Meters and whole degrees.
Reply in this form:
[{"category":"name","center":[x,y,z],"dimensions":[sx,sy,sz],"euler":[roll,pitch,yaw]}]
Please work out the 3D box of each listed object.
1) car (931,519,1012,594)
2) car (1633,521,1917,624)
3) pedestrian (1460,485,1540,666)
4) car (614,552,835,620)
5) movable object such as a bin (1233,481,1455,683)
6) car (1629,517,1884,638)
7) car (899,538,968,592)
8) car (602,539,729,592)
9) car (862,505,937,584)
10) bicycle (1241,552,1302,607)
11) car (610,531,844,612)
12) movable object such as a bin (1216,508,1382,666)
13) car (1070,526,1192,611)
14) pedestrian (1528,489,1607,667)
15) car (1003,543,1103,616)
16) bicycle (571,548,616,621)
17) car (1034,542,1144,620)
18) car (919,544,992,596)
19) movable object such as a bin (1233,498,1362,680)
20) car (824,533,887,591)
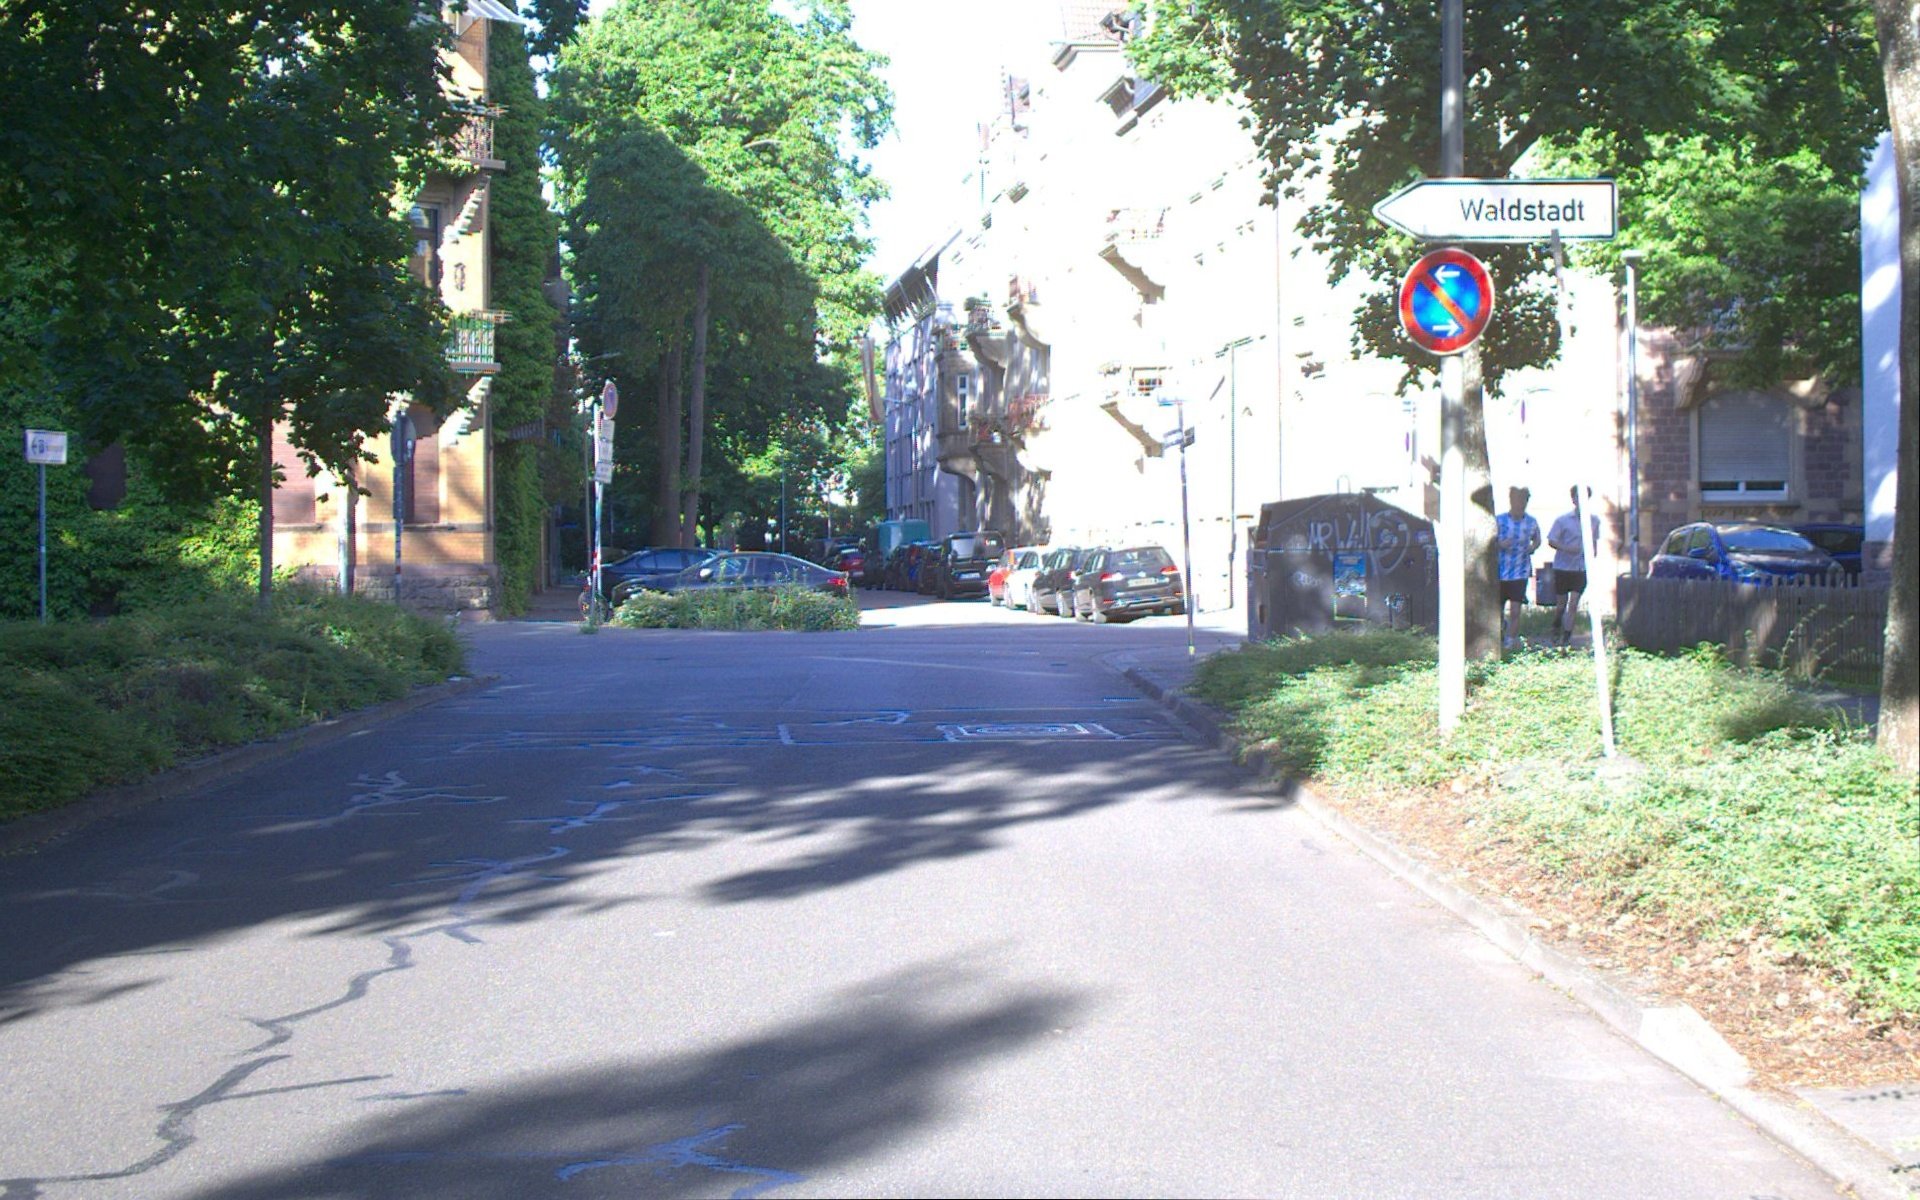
[{"category":"car","center":[0.303,-1.189,94.952],"dimensions":[1.802,1.997,4.001],"euler":[1,1,-6]},{"category":"car","center":[13.637,-0.469,57.607],"dimensions":[4.243,1.616,1.736],"euler":[1,2,-10]},{"category":"pedestrian","center":[5.720,-0.262,36.444],"dimensions":[0.673,1.887,0.895],"euler":[1,0,0]},{"category":"car","center":[-5.290,-0.322,76.907],"dimensions":[4.833,1.430,1.710],"euler":[1,0,-7]},{"category":"movable object such as a bin","center":[3.631,-0.174,32.721],"dimensions":[1.920,1.847,1.393],"euler":[1,0,-1]},{"category":"car","center":[10.815,-0.271,46.991],"dimensions":[1.993,1.550,4.001],"euler":[1,-1,-10]},{"category":"car","center":[-0.859,-1.125,110.103],"dimensions":[1.802,1.673,4.001],"euler":[1,1,-6]},{"category":"car","center":[-9.094,-1.073,106.094],"dimensions":[3.800,1.570,1.710],"euler":[1,0,-8]},{"category":"car","center":[-2.141,-1.944,120.351],"dimensions":[2.165,2.681,4.792],"euler":[1,1,-6]},{"category":"bicycle","center":[5.697,-0.382,62.960],"dimensions":[0.514,0.994,1.576],"euler":[1,1,-18]},{"category":"car","center":[-4.384,-0.536,64.434],"dimensions":[4.242,1.430,2.000],"euler":[1,1,-7]},{"category":"movable object such as a bin","center":[3.640,-0.146,37.089],"dimensions":[1.586,1.652,1.640],"euler":[1,0,-1]},{"category":"car","center":[3.269,-0.617,66.462],"dimensions":[1.737,1.576,4.001],"euler":[1,1,-6]},{"category":"pedestrian","center":[6.550,-0.242,37.102],"dimensions":[0.642,1.887,1.018],"euler":[1,0,0]},{"category":"car","center":[2.085,-0.478,78.034],"dimensions":[1.737,1.576,4.001],"euler":[1,1,-6]},{"category":"bicycle","center":[-6.419,-0.279,60.240],"dimensions":[0.563,1.264,1.603],"euler":[-1,1,1]},{"category":"car","center":[2.693,-0.415,72.556],"dimensions":[1.737,1.576,4.001],"euler":[1,1,-6]},{"category":"car","center":[-0.153,-0.893,103.397],"dimensions":[1.802,1.509,4.001],"euler":[1,1,-6]},{"category":"movable object such as a bin","center":[3.457,-0.119,35.330],"dimensions":[1.147,1.821,1.386],"euler":[1,0,-1]},{"category":"car","center":[-4.206,-1.528,137.386],"dimensions":[2.165,2.229,4.792],"euler":[1,1,-6]}]
